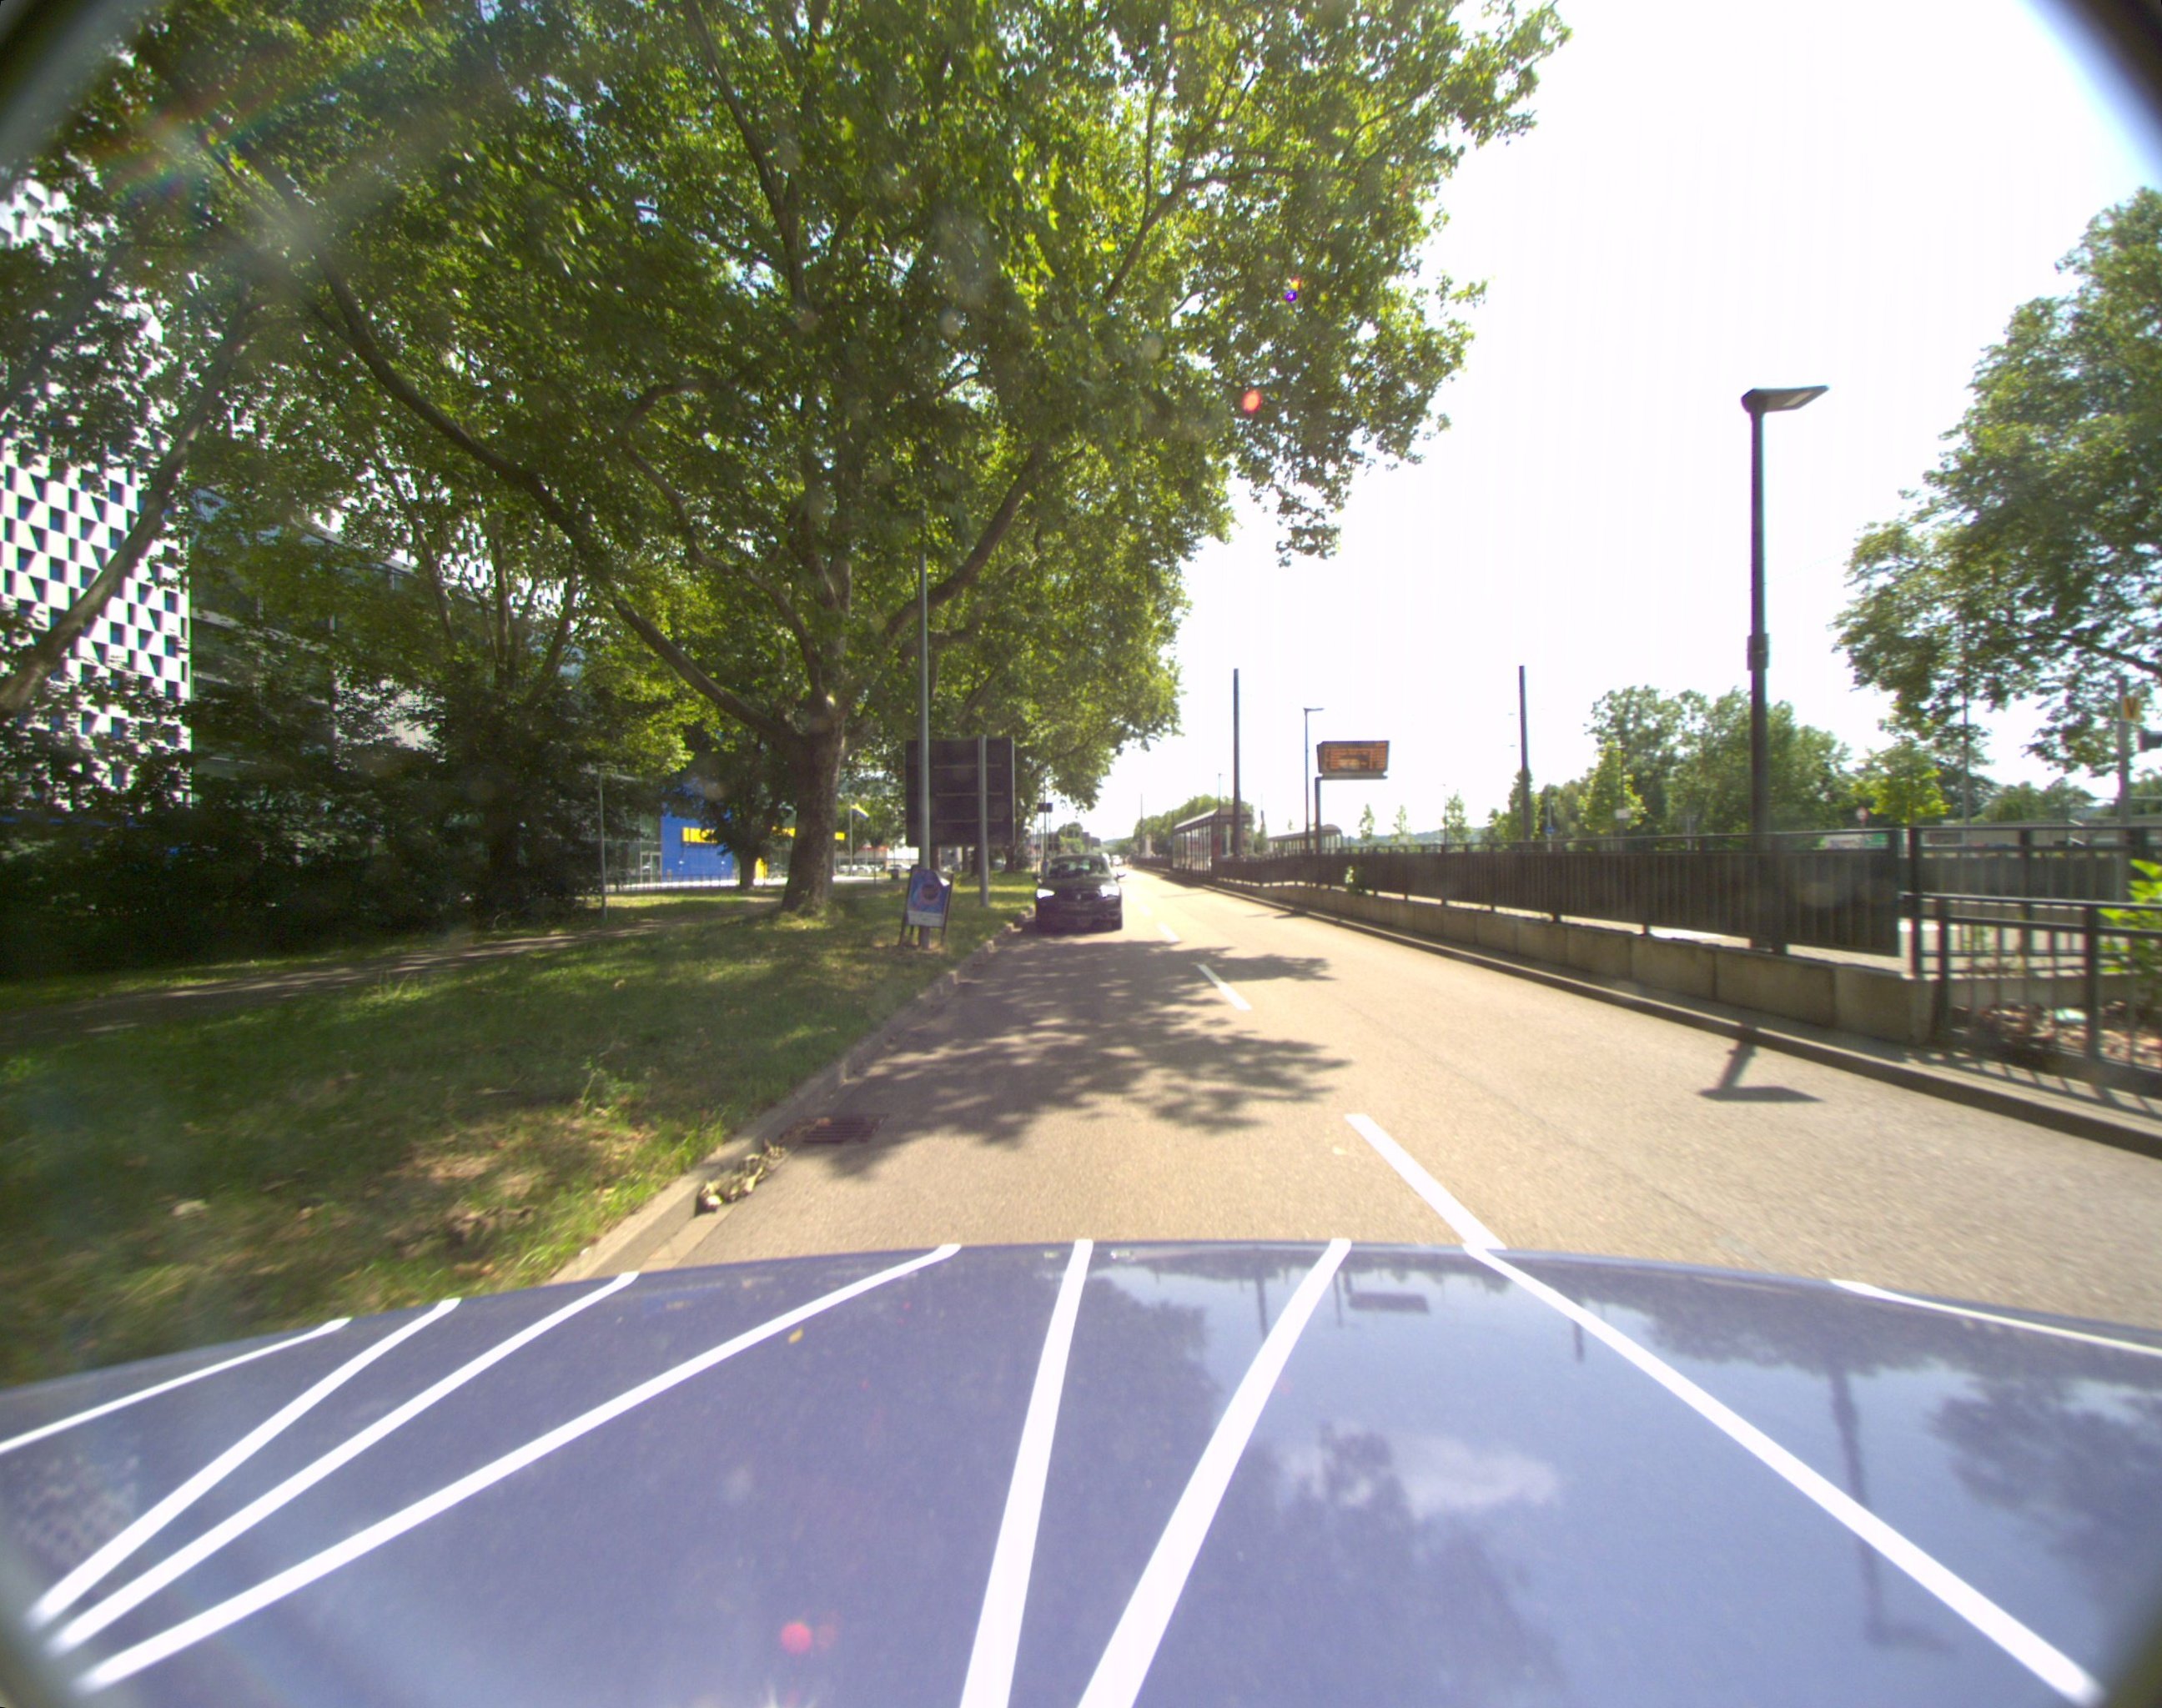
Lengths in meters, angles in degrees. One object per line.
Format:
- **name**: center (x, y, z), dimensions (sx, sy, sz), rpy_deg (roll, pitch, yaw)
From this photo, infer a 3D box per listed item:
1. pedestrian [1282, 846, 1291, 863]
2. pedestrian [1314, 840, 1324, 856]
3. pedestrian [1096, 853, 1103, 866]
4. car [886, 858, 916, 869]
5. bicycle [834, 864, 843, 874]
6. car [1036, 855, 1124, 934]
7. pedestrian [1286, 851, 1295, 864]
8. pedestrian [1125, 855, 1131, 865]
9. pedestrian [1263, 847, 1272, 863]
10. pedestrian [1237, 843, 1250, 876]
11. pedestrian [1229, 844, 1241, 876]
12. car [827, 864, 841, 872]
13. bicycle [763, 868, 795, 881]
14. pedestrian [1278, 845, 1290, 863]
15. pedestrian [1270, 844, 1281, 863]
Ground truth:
- **pedestrian**: center (18.404, 0.055, 67.995), dimensions (0.578, 1.524, 0.639), rpy_deg (-1, 0, 2)
- **pedestrian**: center (18.203, -0.473, 58.162), dimensions (0.578, 1.183, 0.639), rpy_deg (-1, 0, 2)
- **pedestrian**: center (2.446, 0.733, 101.577), dimensions (0.865, 1.791, 0.883), rpy_deg (-2, 1, -2)
- **car**: center (-28.136, 1.466, 118.802), dimensions (4.079, 1.630, 2.000), rpy_deg (-1, 0, 0)
- **bicycle**: center (-30.778, 1.883, 96.333), dimensions (0.803, 1.139, 2.430), rpy_deg (-1, 1, -12)
- **car**: center (-0.003, 0.866, 18.087), dimensions (1.820, 1.583, 4.000), rpy_deg (-2, 0, 0)
- **pedestrian**: center (18.203, 0.296, 66.120), dimensions (0.578, 1.088, 0.639), rpy_deg (-1, 0, 2)
- **pedestrian**: center (6.330, 0.802, 102.023), dimensions (0.615, 1.337, 0.720), rpy_deg (-2, 1, -1)
- **pedestrian**: center (18.483, 0.101, 75.420), dimensions (0.558, 1.628, 0.806), rpy_deg (-2, 0, -6)
- **pedestrian**: center (7.552, 0.257, 35.346), dimensions (0.396, 1.499, 0.417), rpy_deg (-2, 2, -40)
- **pedestrian**: center (7.226, 0.269, 35.641), dimensions (0.396, 1.499, 0.417), rpy_deg (-2, 2, -40)
- **car**: center (-51.954, 2.989, 159.819), dimensions (1.853, 1.537, 3.999), rpy_deg (-2, 0, -2)
- **bicycle**: center (-23.293, 1.586, 58.619), dimensions (2.065, 0.963, 0.868), rpy_deg (-2, 0, -3)
- **pedestrian**: center (18.397, -0.007, 68.766), dimensions (0.826, 1.629, 0.579), rpy_deg (-1, 0, 38)
- **pedestrian**: center (17.969, -0.049, 70.134), dimensions (0.736, 1.719, 0.579), rpy_deg (-1, 0, 38)
